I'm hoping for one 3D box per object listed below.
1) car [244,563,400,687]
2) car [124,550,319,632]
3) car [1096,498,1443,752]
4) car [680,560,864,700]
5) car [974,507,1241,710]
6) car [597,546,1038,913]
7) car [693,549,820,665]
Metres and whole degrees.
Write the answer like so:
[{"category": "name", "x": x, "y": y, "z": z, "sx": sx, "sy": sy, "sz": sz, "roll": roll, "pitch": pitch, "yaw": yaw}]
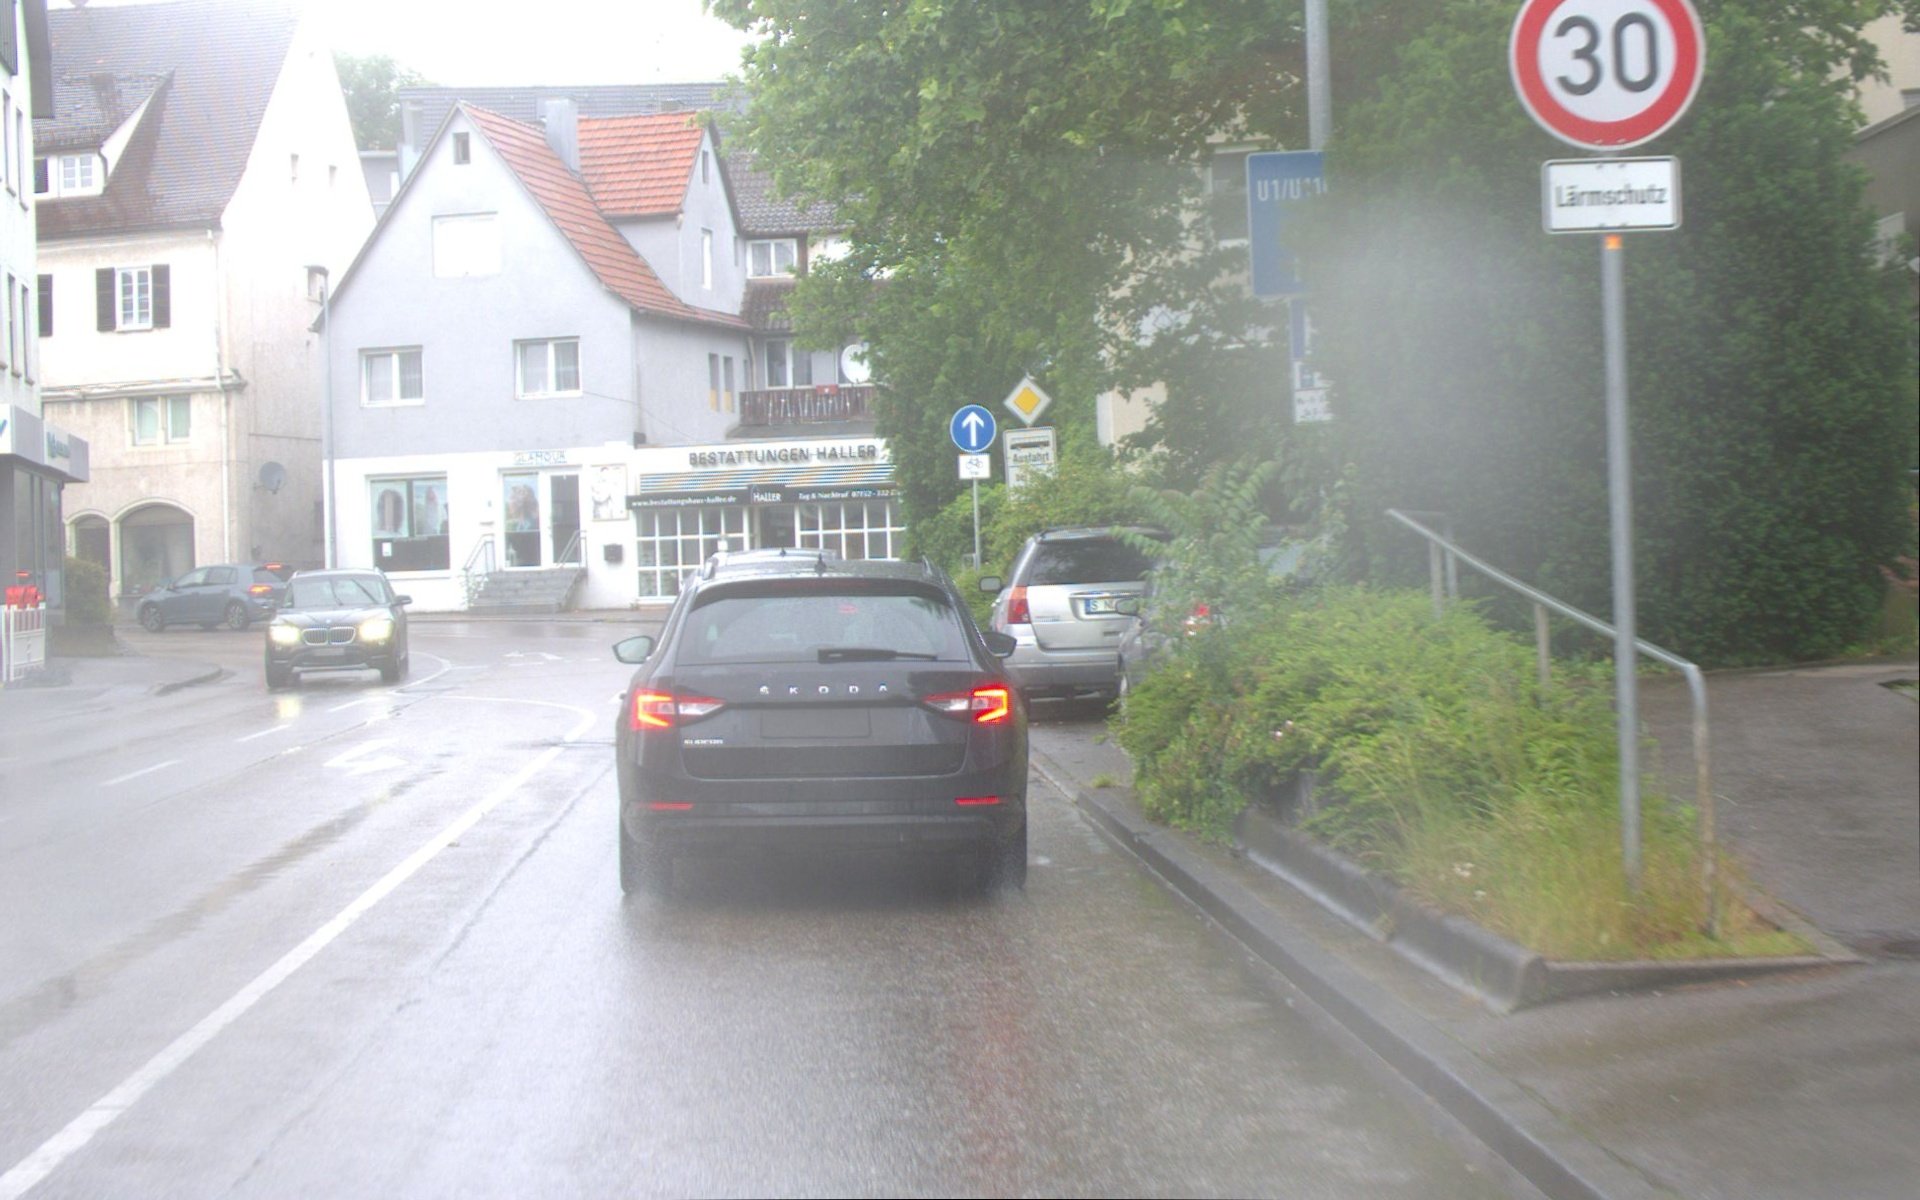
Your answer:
[{"category": "car", "x": -8.724, "y": 0.350, "z": 46.795, "sx": 1.658, "sy": 1.565, "sz": 4.001, "roll": -2, "pitch": 0, "yaw": -16}, {"category": "car", "x": -15.955, "y": -0.197, "z": 74.306, "sx": 3.681, "sy": 1.585, "sz": 1.896, "roll": -3, "pitch": 0, "yaw": 26}, {"category": "car", "x": 2.185, "y": 0.156, "z": 25.208, "sx": 1.852, "sy": 1.635, "sz": 3.539, "roll": -3, "pitch": 1, "yaw": -5}, {"category": "car", "x": -1.999, "y": 0.294, "z": 36.668, "sx": 1.817, "sy": 1.355, "sz": 3.990, "roll": -2, "pitch": 0, "yaw": -3}, {"category": "car", "x": 1.272, "y": 0.059, "z": 31.269, "sx": 1.852, "sy": 1.635, "sz": 3.872, "roll": -3, "pitch": 1, "yaw": -5}, {"category": "car", "x": -0.612, "y": 0.517, "z": 16.145, "sx": 1.782, "sy": 1.478, "sz": 4.246, "roll": -1, "pitch": 0, "yaw": -1}, {"category": "car", "x": -3.062, "y": 0.139, "z": 52.384, "sx": 1.727, "sy": 1.585, "sz": 4.183, "roll": -1, "pitch": -2, "yaw": -1}]
